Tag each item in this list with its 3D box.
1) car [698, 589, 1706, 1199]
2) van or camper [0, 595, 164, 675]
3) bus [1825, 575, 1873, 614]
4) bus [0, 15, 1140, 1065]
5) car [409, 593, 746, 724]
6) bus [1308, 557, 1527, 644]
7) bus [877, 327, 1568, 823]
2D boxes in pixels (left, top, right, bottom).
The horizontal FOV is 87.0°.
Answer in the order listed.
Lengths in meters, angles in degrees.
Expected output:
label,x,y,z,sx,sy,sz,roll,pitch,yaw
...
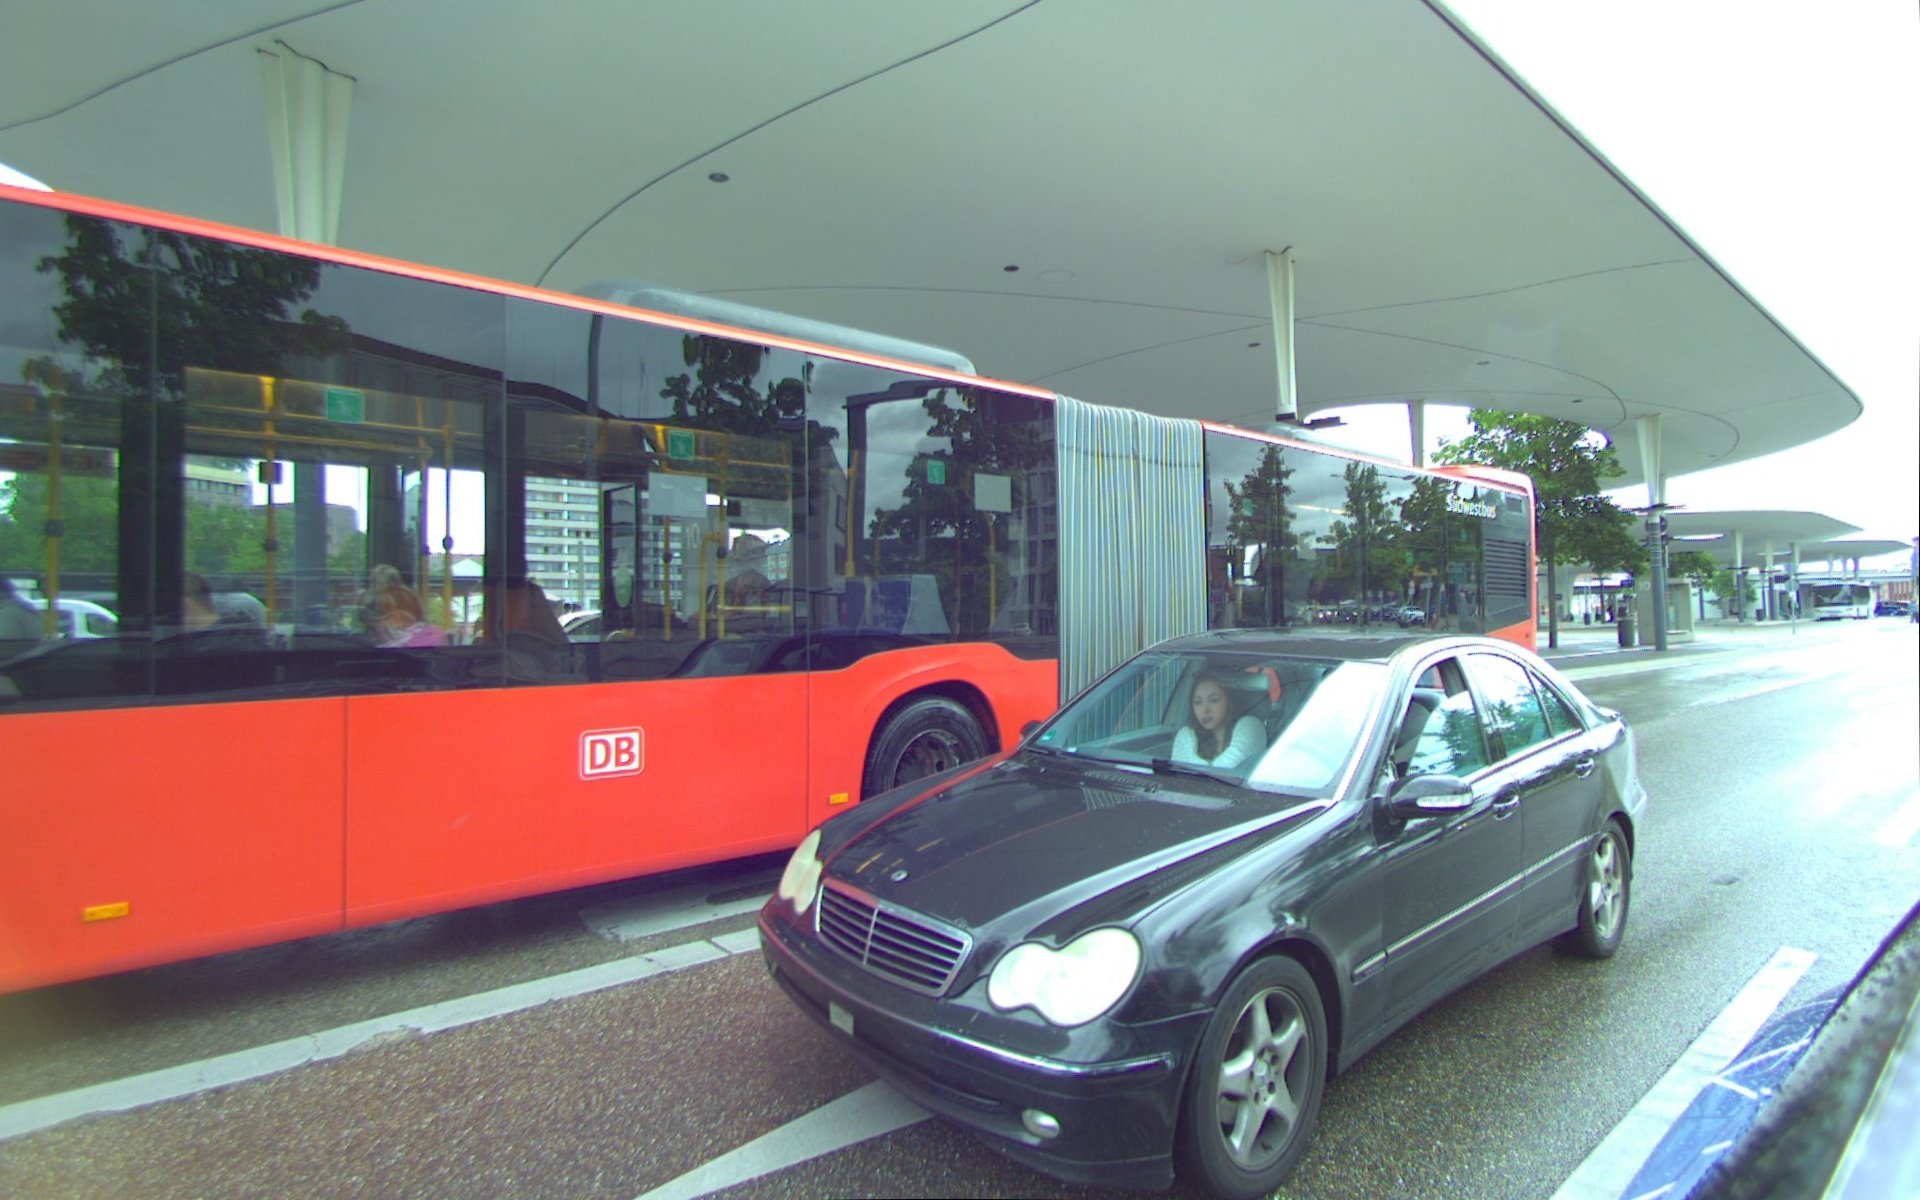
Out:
label,x,y,z,sx,sy,sz,roll,pitch,yaw
car,1.351,0.746,4.129,4.357,1.499,1.748,-1,-1,-41
van or camper,-29.849,1.099,33.165,5.867,2.495,2.106,0,-1,-41
bus,75.299,-0.419,85.657,2.666,3.169,9.565,-1,-1,43
bus,-3.481,-0.186,4.446,10.016,3.214,2.747,0,0,-41
car,-5.581,0.771,15.075,4.355,1.670,1.803,0,-2,-41
bus,20.021,0.020,43.704,12.128,3.148,3.001,0,-6,-38
bus,3.187,-0.168,10.235,7.978,3.214,2.747,0,0,-41
